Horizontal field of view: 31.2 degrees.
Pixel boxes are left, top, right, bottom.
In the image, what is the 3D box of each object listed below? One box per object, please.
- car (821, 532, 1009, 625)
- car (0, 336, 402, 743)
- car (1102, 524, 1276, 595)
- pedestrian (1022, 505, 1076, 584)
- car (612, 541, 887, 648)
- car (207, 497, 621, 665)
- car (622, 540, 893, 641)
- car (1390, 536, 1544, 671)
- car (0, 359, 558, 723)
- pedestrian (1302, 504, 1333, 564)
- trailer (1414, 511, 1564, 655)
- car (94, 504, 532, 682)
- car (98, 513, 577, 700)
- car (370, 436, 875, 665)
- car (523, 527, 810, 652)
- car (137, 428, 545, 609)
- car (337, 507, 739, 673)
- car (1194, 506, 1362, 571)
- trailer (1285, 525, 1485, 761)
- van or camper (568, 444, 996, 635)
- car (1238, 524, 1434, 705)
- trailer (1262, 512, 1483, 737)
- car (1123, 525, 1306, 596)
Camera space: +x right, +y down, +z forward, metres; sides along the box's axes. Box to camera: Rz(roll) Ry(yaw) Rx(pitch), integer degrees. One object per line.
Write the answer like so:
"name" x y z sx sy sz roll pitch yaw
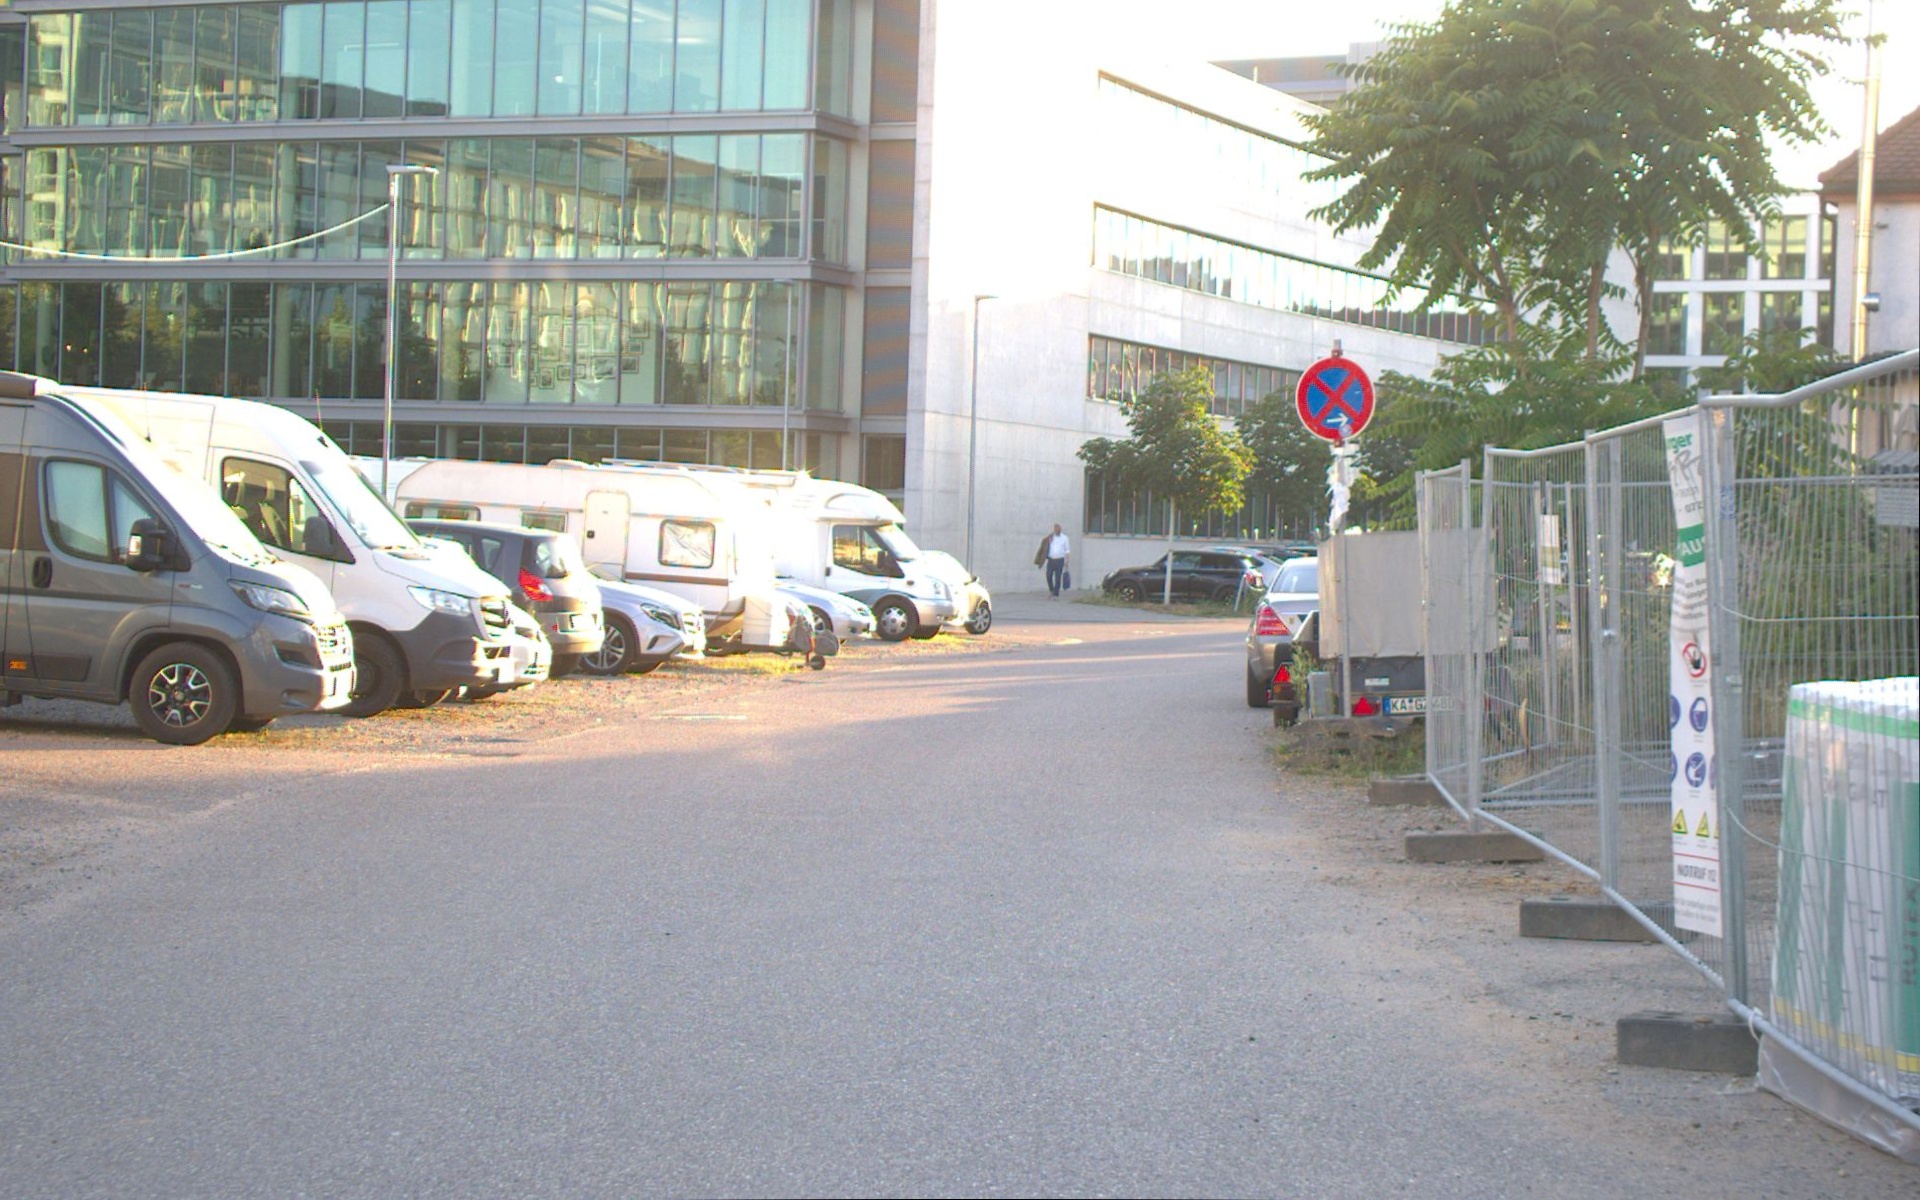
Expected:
"car" -0.757 -0.366 61.347 1.688 1.514 4.356 3 1 23
"car" -7.520 -0.553 25.144 6.387 2.704 2.113 4 0 0
"car" 5.412 -0.974 81.211 3.738 1.477 1.768 3 2 17
"pedestrian" 2.107 -1.310 81.345 0.899 1.844 0.856 0 2 -35
"car" -3.079 -0.096 50.640 3.727 1.362 1.705 3 1 8
"car" -5.784 -0.220 36.543 3.928 1.585 1.747 3 1 15
"car" -3.093 -0.164 52.795 3.809 1.324 1.692 3 1 10
"car" 7.470 -0.001 50.336 1.772 1.825 4.405 1 2 14
"car" -6.565 -0.564 29.156 5.827 2.703 2.050 4 2 5
"pedestrian" 10.874 -2.010 104.558 0.646 1.778 0.724 3 1 23
"trailer" 8.677 -0.316 56.094 2.065 2.204 5.220 1 1 12
"car" -6.461 -0.069 34.566 3.926 1.585 1.747 2 0 7
"car" -5.677 0.046 31.611 3.926 1.502 1.789 2 1 7
"car" -4.325 -0.632 44.397 5.892 2.525 2.410 4 0 13
"car" -4.066 -0.165 47.862 3.629 1.514 1.705 3 1 8
"car" -10.294 -1.369 57.221 6.247 2.664 2.221 3 1 17
"car" -4.803 -0.134 39.301 4.129 1.585 1.747 4 2 15
"car" 8.372 -1.623 90.527 3.992 1.506 1.758 3 2 24
"trailer" 3.125 0.280 25.613 1.250 1.659 2.803 0 1 2
"van or camper" -2.989 -1.031 58.207 6.744 2.887 2.407 3 1 12
"car" 3.907 0.103 35.120 1.806 1.719 4.927 0 1 8
"trailer" 3.601 0.154 29.643 1.731 1.771 4.936 0 1 8
"car" 6.218 -0.971 83.838 4.089 1.523 1.845 3 2 17
